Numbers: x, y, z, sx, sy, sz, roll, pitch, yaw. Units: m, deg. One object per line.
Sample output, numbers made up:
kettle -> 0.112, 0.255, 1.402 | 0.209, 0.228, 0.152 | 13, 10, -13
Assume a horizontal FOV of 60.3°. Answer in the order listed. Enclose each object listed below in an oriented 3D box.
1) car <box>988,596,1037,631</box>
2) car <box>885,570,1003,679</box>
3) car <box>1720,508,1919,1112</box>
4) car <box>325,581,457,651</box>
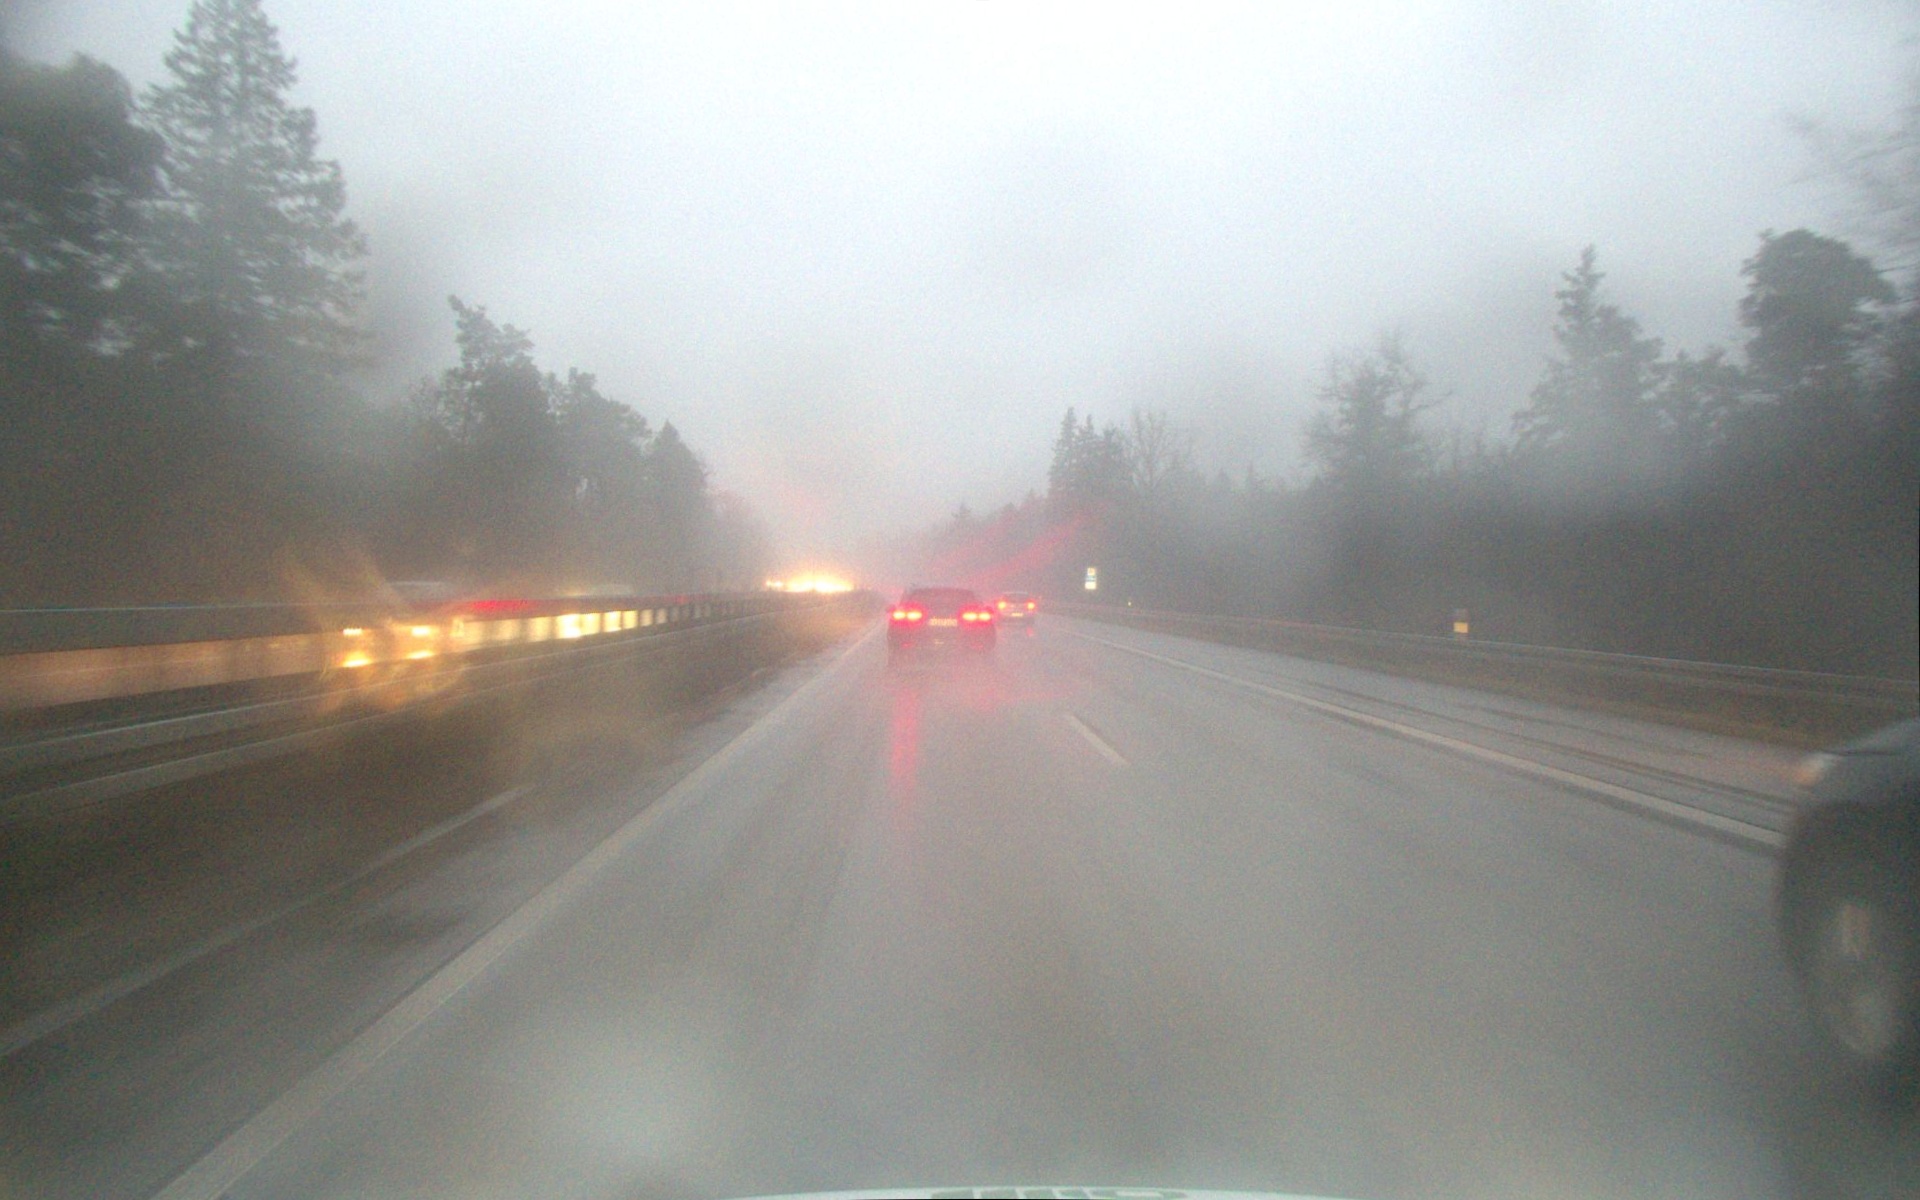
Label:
car -> 2.219, 0.567, 70.978 | 1.745, 1.462, 3.534 | 1, 0, -4
car -> -0.275, 0.392, 29.622 | 1.946, 1.798, 4.173 | 0, 0, 0
car -> 3.785, 0.615, 3.715 | 2.028, 1.727, 4.460 | 0, 0, -1
car -> -12.708, 0.326, 37.195 | 1.757, 1.466, 4.040 | 0, 0, -3
